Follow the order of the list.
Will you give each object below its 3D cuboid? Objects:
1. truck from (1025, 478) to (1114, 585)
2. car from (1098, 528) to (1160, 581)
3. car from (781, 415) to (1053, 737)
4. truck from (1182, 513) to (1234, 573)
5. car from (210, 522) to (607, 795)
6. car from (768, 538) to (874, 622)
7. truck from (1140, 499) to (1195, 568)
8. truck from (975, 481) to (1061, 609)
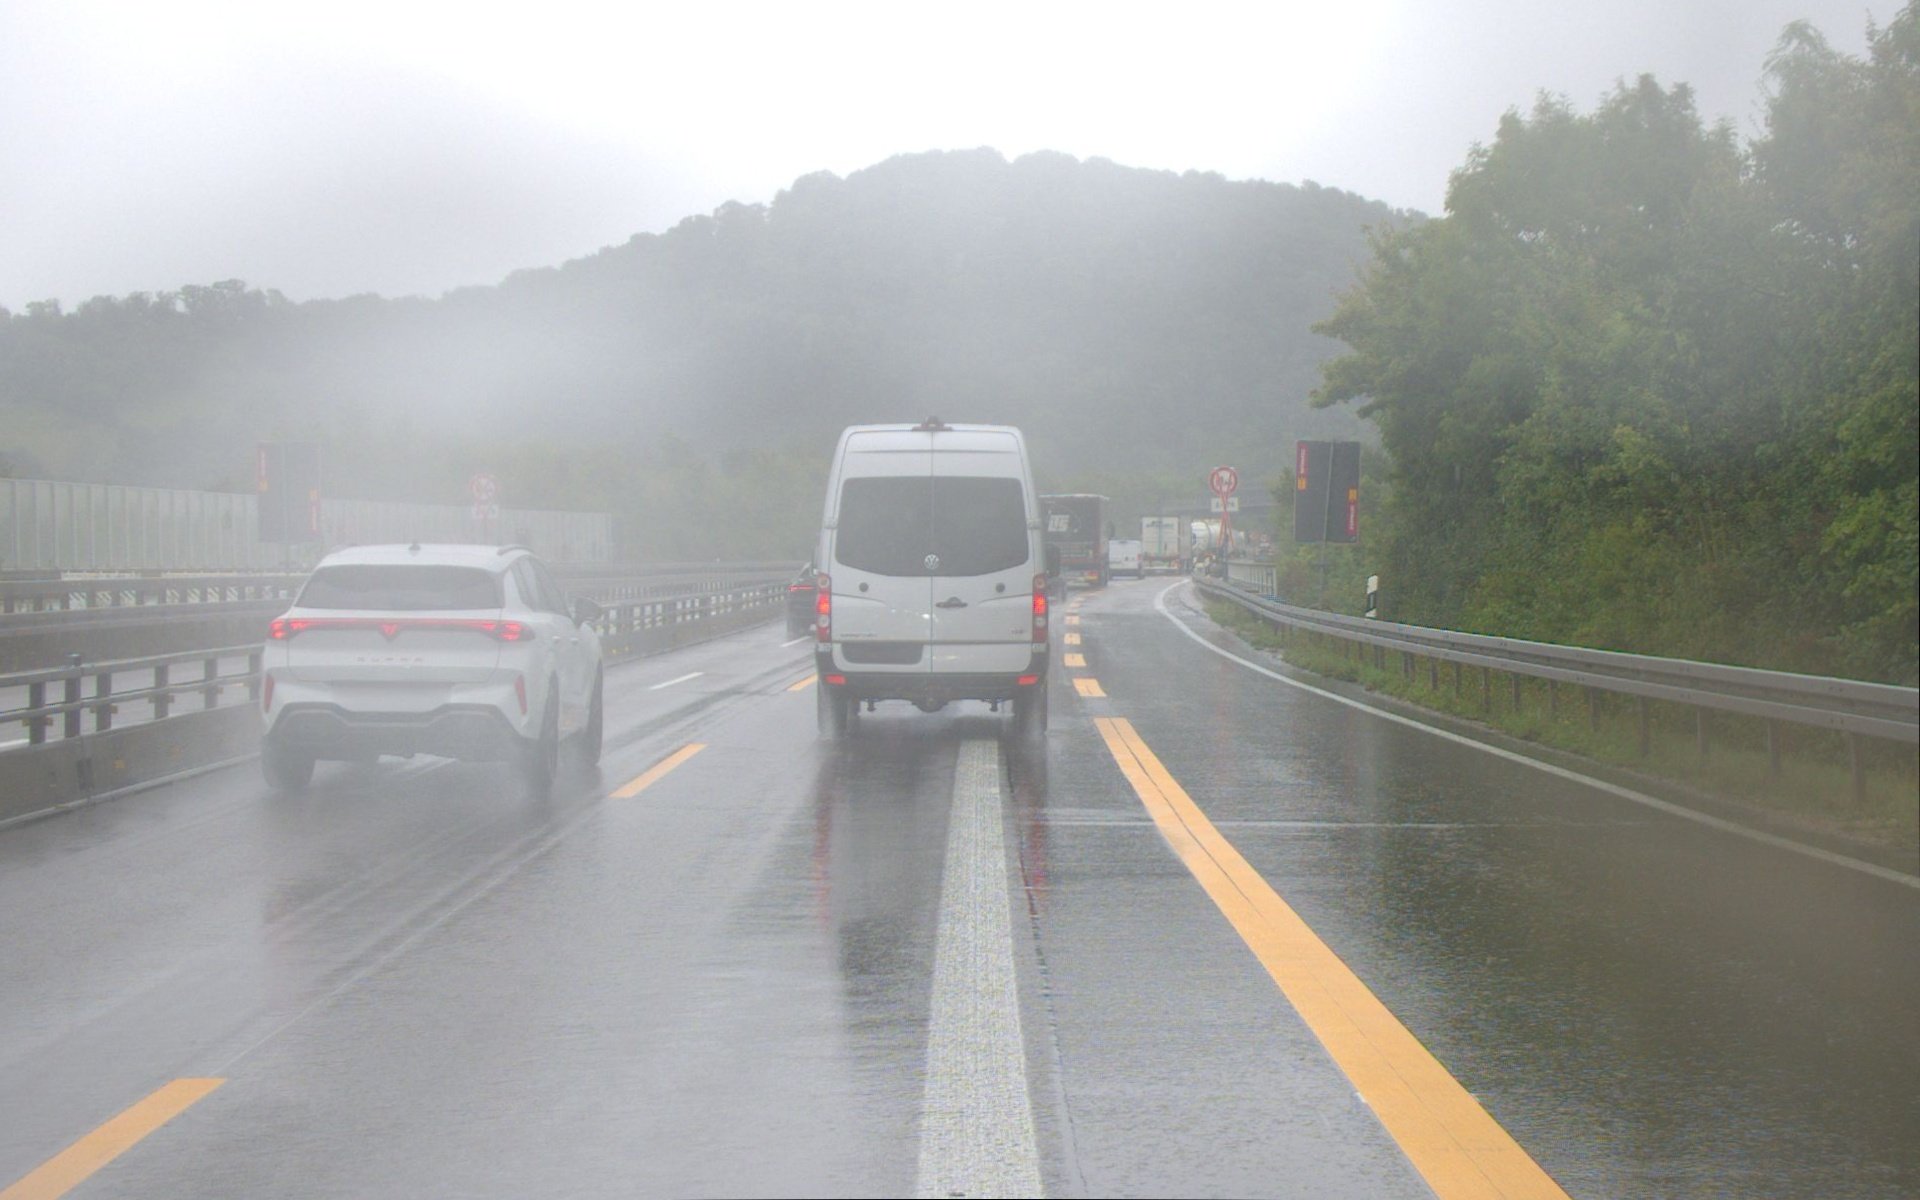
[{"bbox_3d":[4.780,-2.893,148.186,3.581,4.391,9.623,1,0,3],"label":"truck"},{"bbox_3d":[9.597,-2.562,194.587,2.899,2.877,6.409,1,0,8],"label":"car"},{"bbox_3d":[-0.395,-0.216,30.487,2.145,2.562,5.390,1,0,-1],"label":"car"},{"bbox_3d":[18.981,-4.328,262.671,2.899,4.391,9.620,1,0,10],"label":"truck"},{"bbox_3d":[-3.582,0.334,23.196,1.993,1.612,4.797,1,0,-1],"label":"car"},{"bbox_3d":[-2.693,-0.401,67.262,1.946,1.556,4.000,1,0,-1],"label":"car"},{"bbox_3d":[13.930,-4.420,230.677,3.037,4.391,9.621,1,0,7],"label":"truck"},{"bbox_3d":[1.542,-1.370,88.345,1.993,3.098,8.498,1,0,2],"label":"truck"}]
